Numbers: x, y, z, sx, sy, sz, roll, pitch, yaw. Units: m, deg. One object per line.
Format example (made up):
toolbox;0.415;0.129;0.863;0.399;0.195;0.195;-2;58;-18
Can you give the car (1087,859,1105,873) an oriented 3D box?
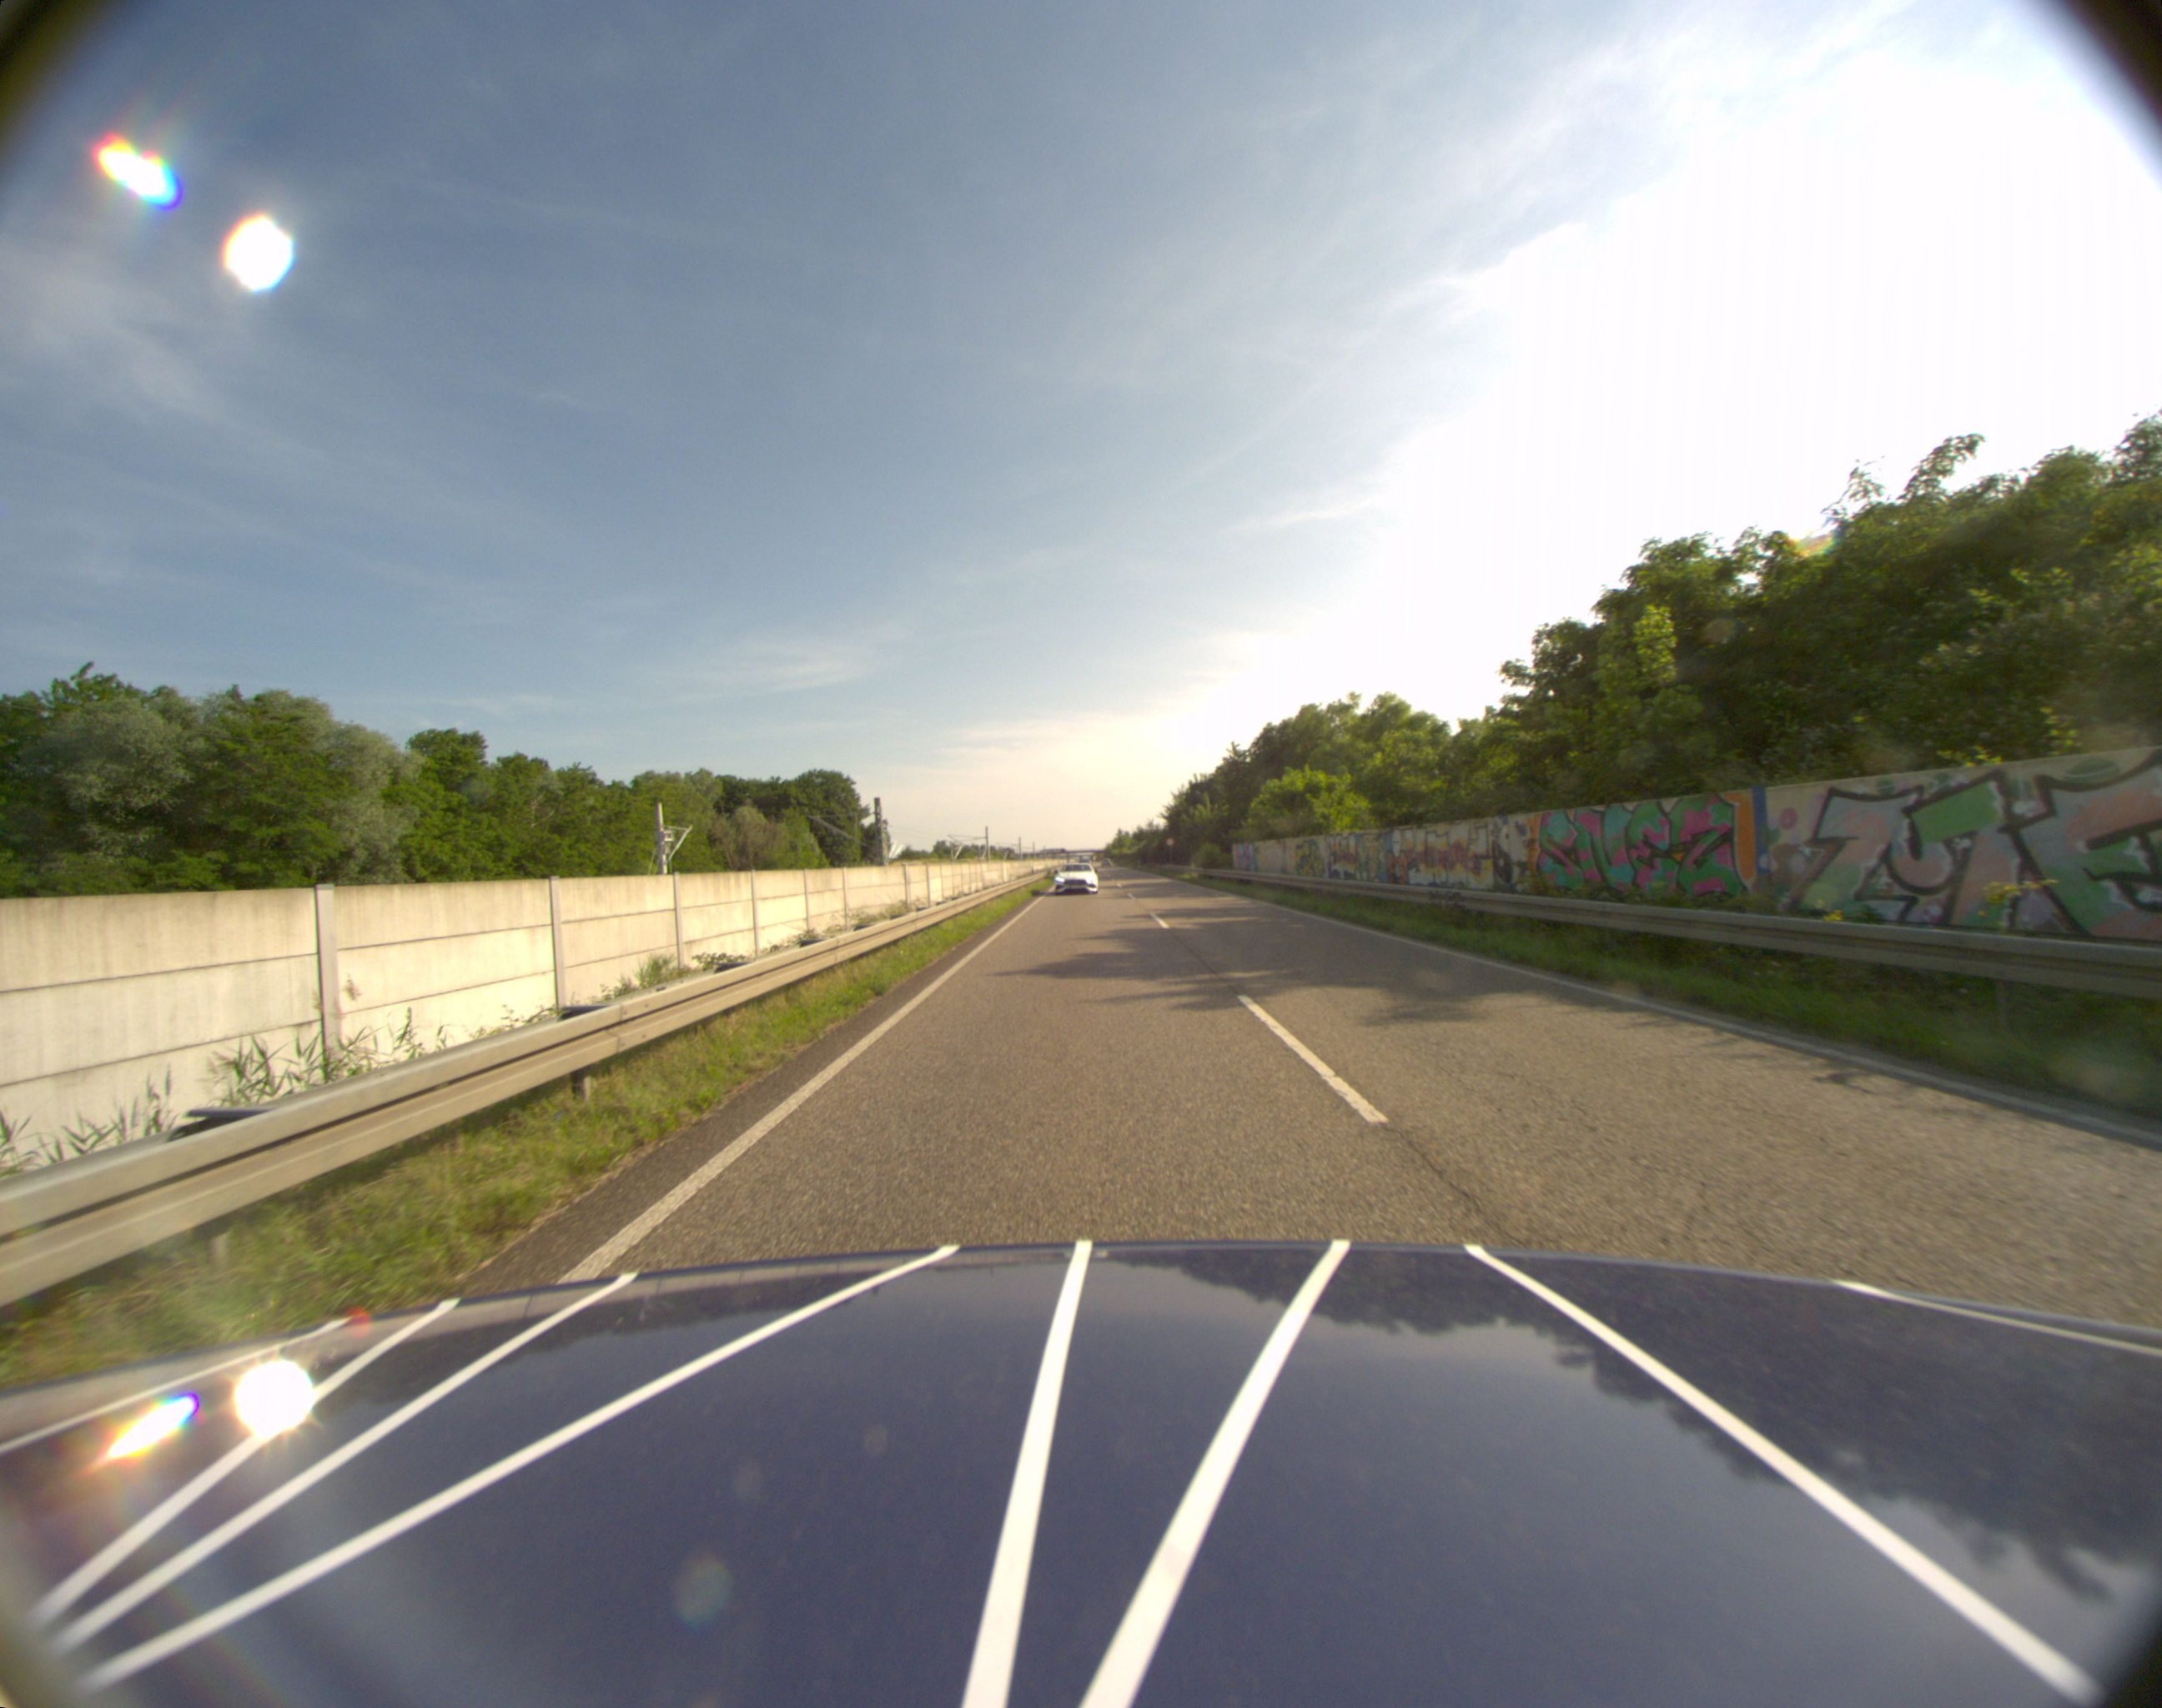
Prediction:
car;1.674;1.390;87.648;1.953;1.430;4.612;-3;0;1

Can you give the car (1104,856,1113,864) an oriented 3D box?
car;5.291;1.189;145.598;1.724;1.386;4.360;-1;0;1

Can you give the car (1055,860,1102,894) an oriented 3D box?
car;-0.077;1.008;34.835;1.953;1.430;4.612;-1;0;1
